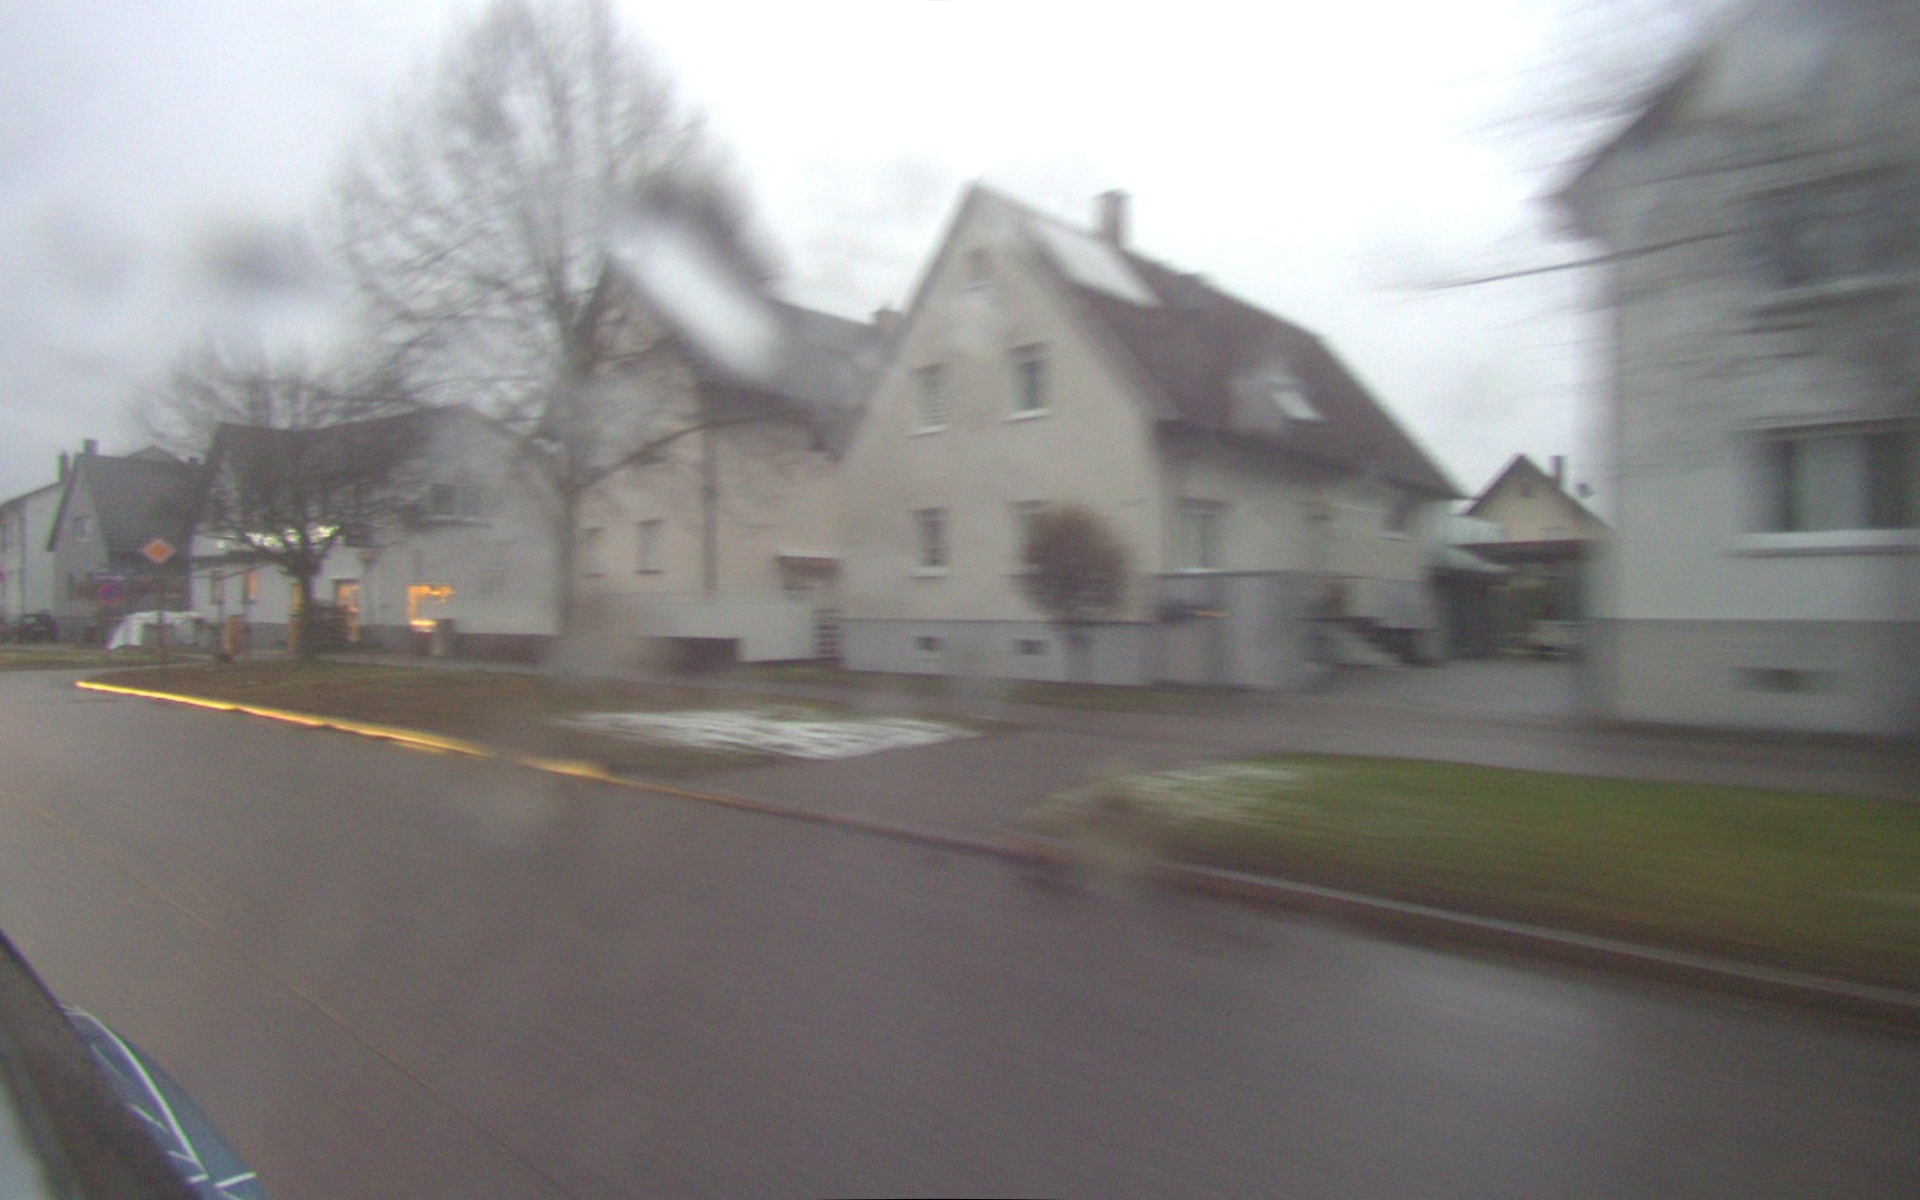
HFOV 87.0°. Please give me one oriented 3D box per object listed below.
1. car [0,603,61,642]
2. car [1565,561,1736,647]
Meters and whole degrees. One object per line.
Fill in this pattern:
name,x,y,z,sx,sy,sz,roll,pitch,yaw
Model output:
car,-44.892,1.059,48.278,4.557,1.769,1.976,0,-1,35
car,14.001,0.059,20.452,3.941,1.564,2.129,-1,0,-44
